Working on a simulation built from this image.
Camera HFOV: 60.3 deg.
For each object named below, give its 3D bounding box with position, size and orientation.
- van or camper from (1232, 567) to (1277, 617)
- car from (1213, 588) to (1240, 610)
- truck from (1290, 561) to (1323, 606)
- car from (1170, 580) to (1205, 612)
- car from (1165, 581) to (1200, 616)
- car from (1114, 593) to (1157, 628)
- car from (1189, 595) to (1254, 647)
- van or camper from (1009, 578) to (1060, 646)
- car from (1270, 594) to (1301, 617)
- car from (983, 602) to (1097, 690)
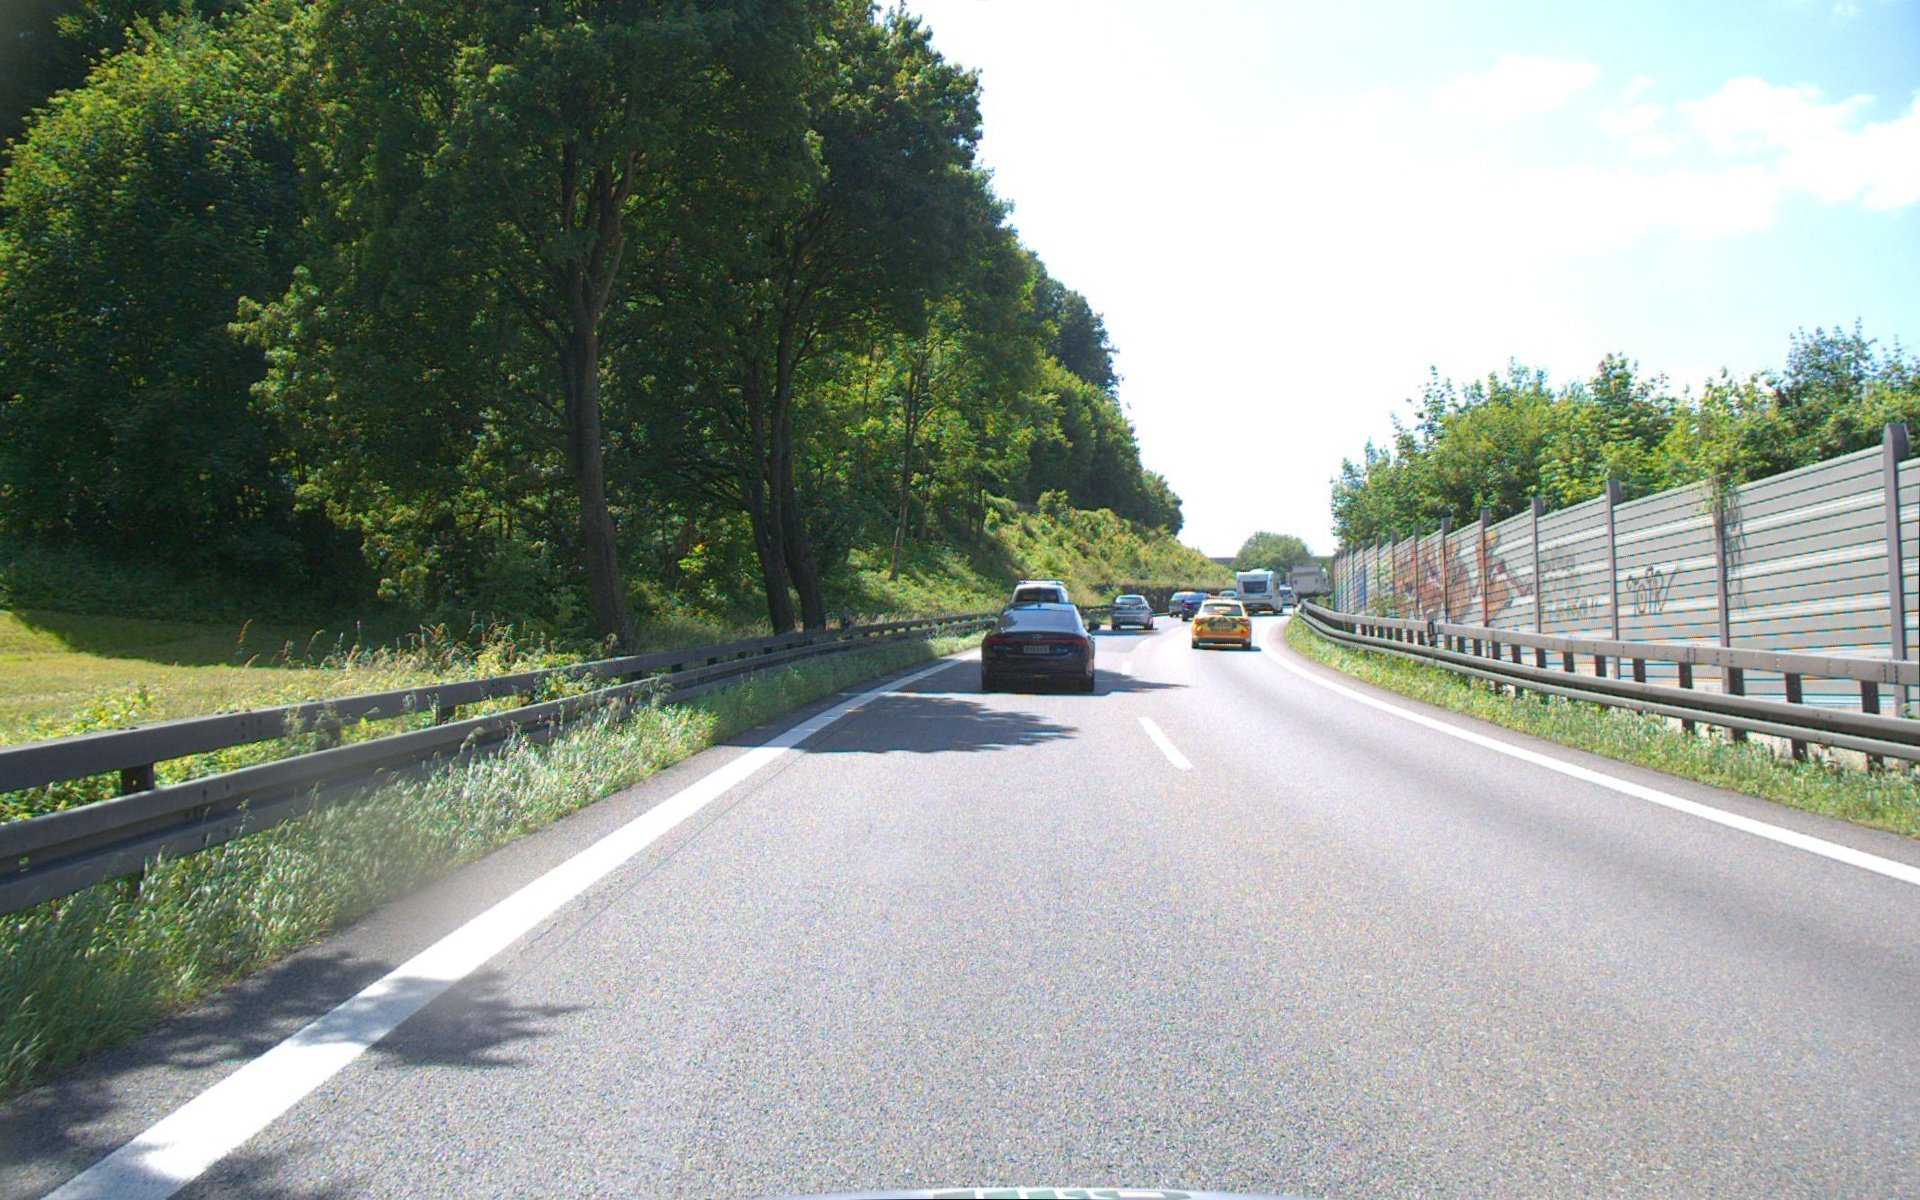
[{"bbox_3d":[18.154,-0.431,101.755,2.403,2.969,6.131,0,-1,13],"label":"van or camper"},{"bbox_3d":[21.298,-0.094,132.067,1.802,1.747,4.003,-1,0,14],"label":"car"},{"bbox_3d":[32.901,-1.523,156.840,2.674,4.168,7.486,-1,0,14],"label":"truck"},{"bbox_3d":[12.096,-0.178,88.160,1.735,1.665,4.003,0,-1,6],"label":"car"},{"bbox_3d":[13.618,-0.111,101.179,1.951,2.049,4.004,0,0,10],"label":"car"},{"bbox_3d":[7.545,0.439,70.845,1.709,1.456,4.003,0,-1,8],"label":"car"},{"bbox_3d":[7.922,0.647,50.347,1.823,1.514,4.003,0,-1,7],"label":"car"},{"bbox_3d":[2.136,0.344,46.671,1.362,1.848,4.001,0,-1,3],"label":"van or camper"},{"bbox_3d":[25.597,0.442,129.885,1.952,1.747,4.002,0,0,18],"label":"car"},{"bbox_3d":[1.373,0.740,27.957,1.799,1.373,4.001,0,-1,3],"label":"car"}]
